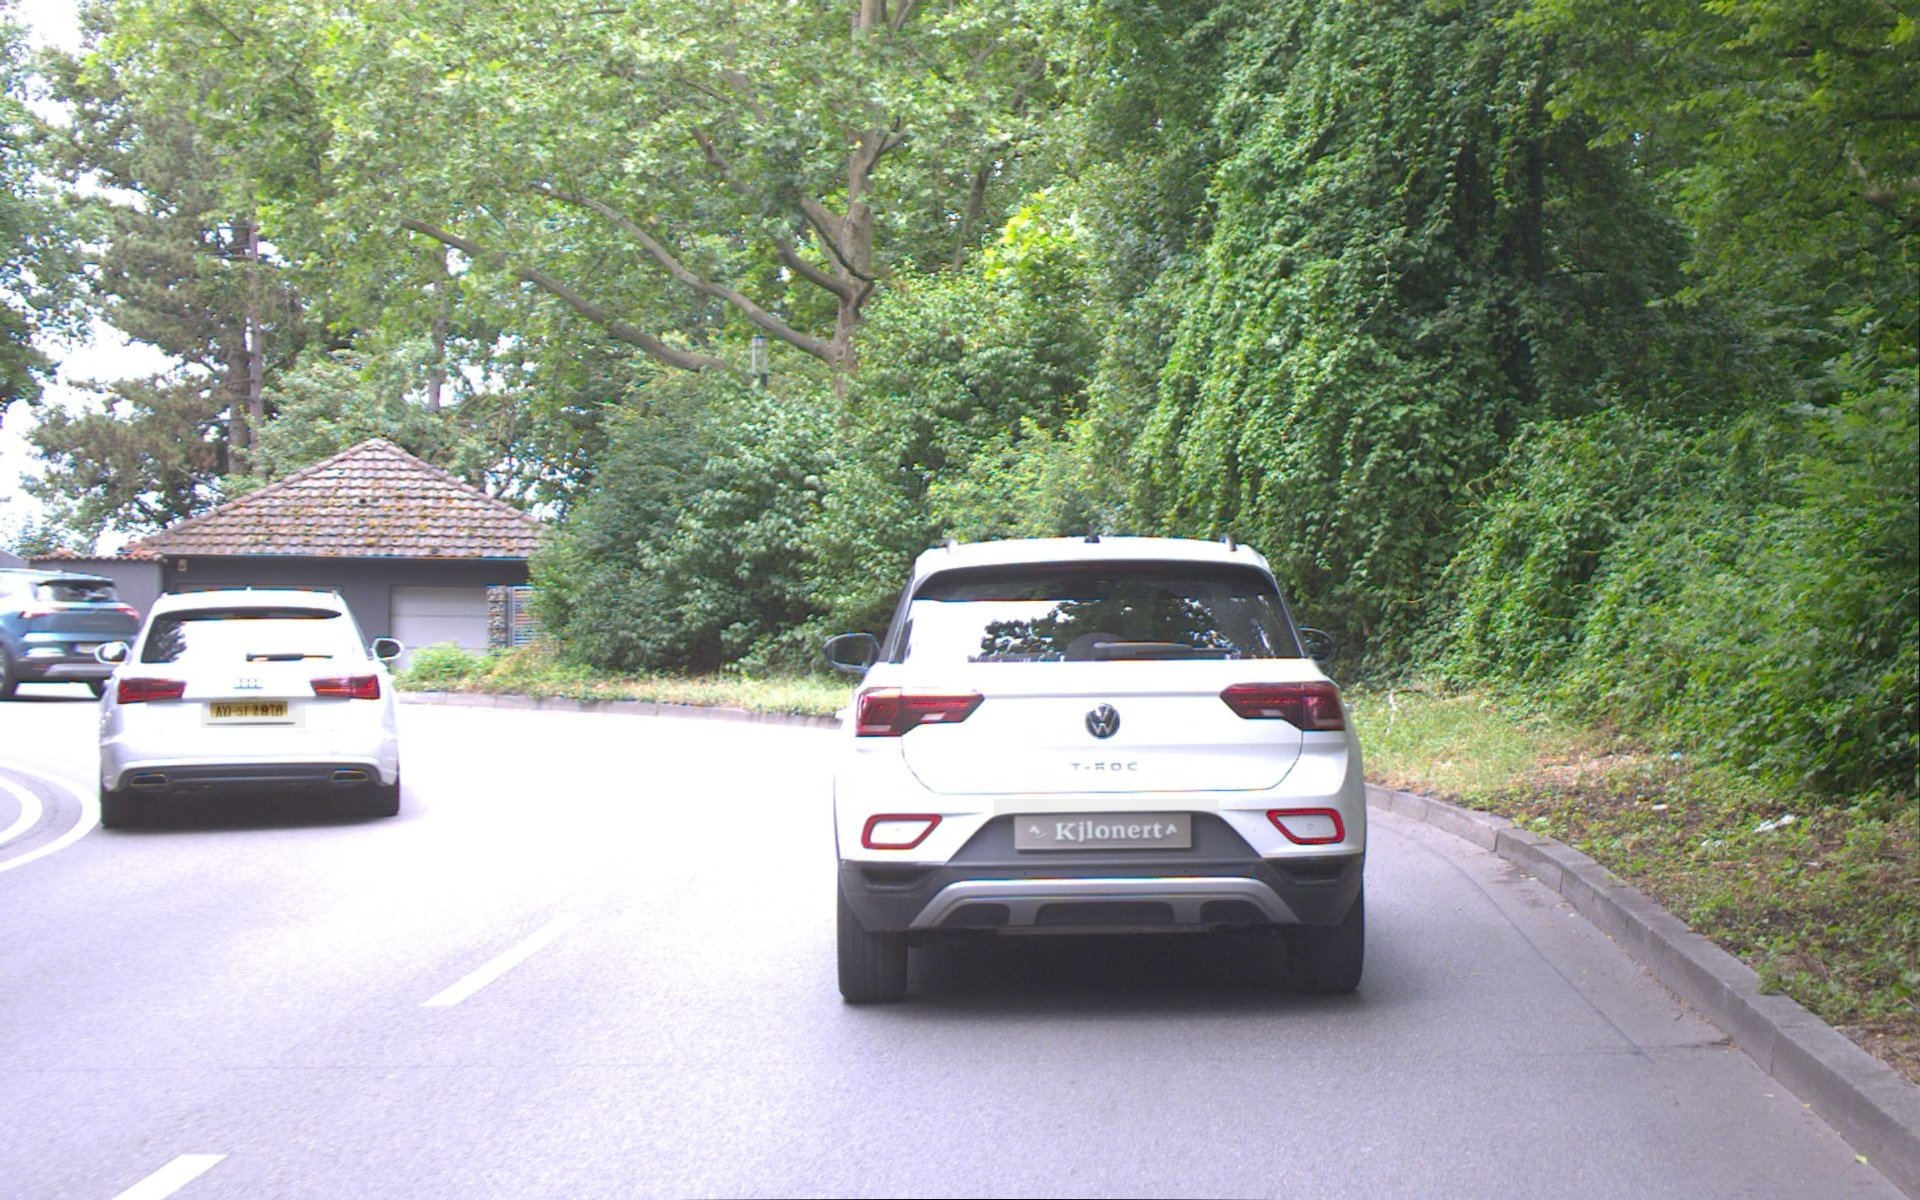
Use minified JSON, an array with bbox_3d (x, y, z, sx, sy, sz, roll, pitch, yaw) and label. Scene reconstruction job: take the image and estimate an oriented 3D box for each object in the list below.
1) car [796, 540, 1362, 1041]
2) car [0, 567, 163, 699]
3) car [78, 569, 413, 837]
[{"bbox_3d":[0.615,0.560,12.870,1.755,1.547,4.336,0,1,7],"label":"car"},{"bbox_3d":[-11.600,0.363,41.713,4.020,1.496,1.671,1,2,40],"label":"car"},{"bbox_3d":[-4.848,0.594,22.840,1.864,1.529,4.778,-2,1,-15],"label":"car"}]
